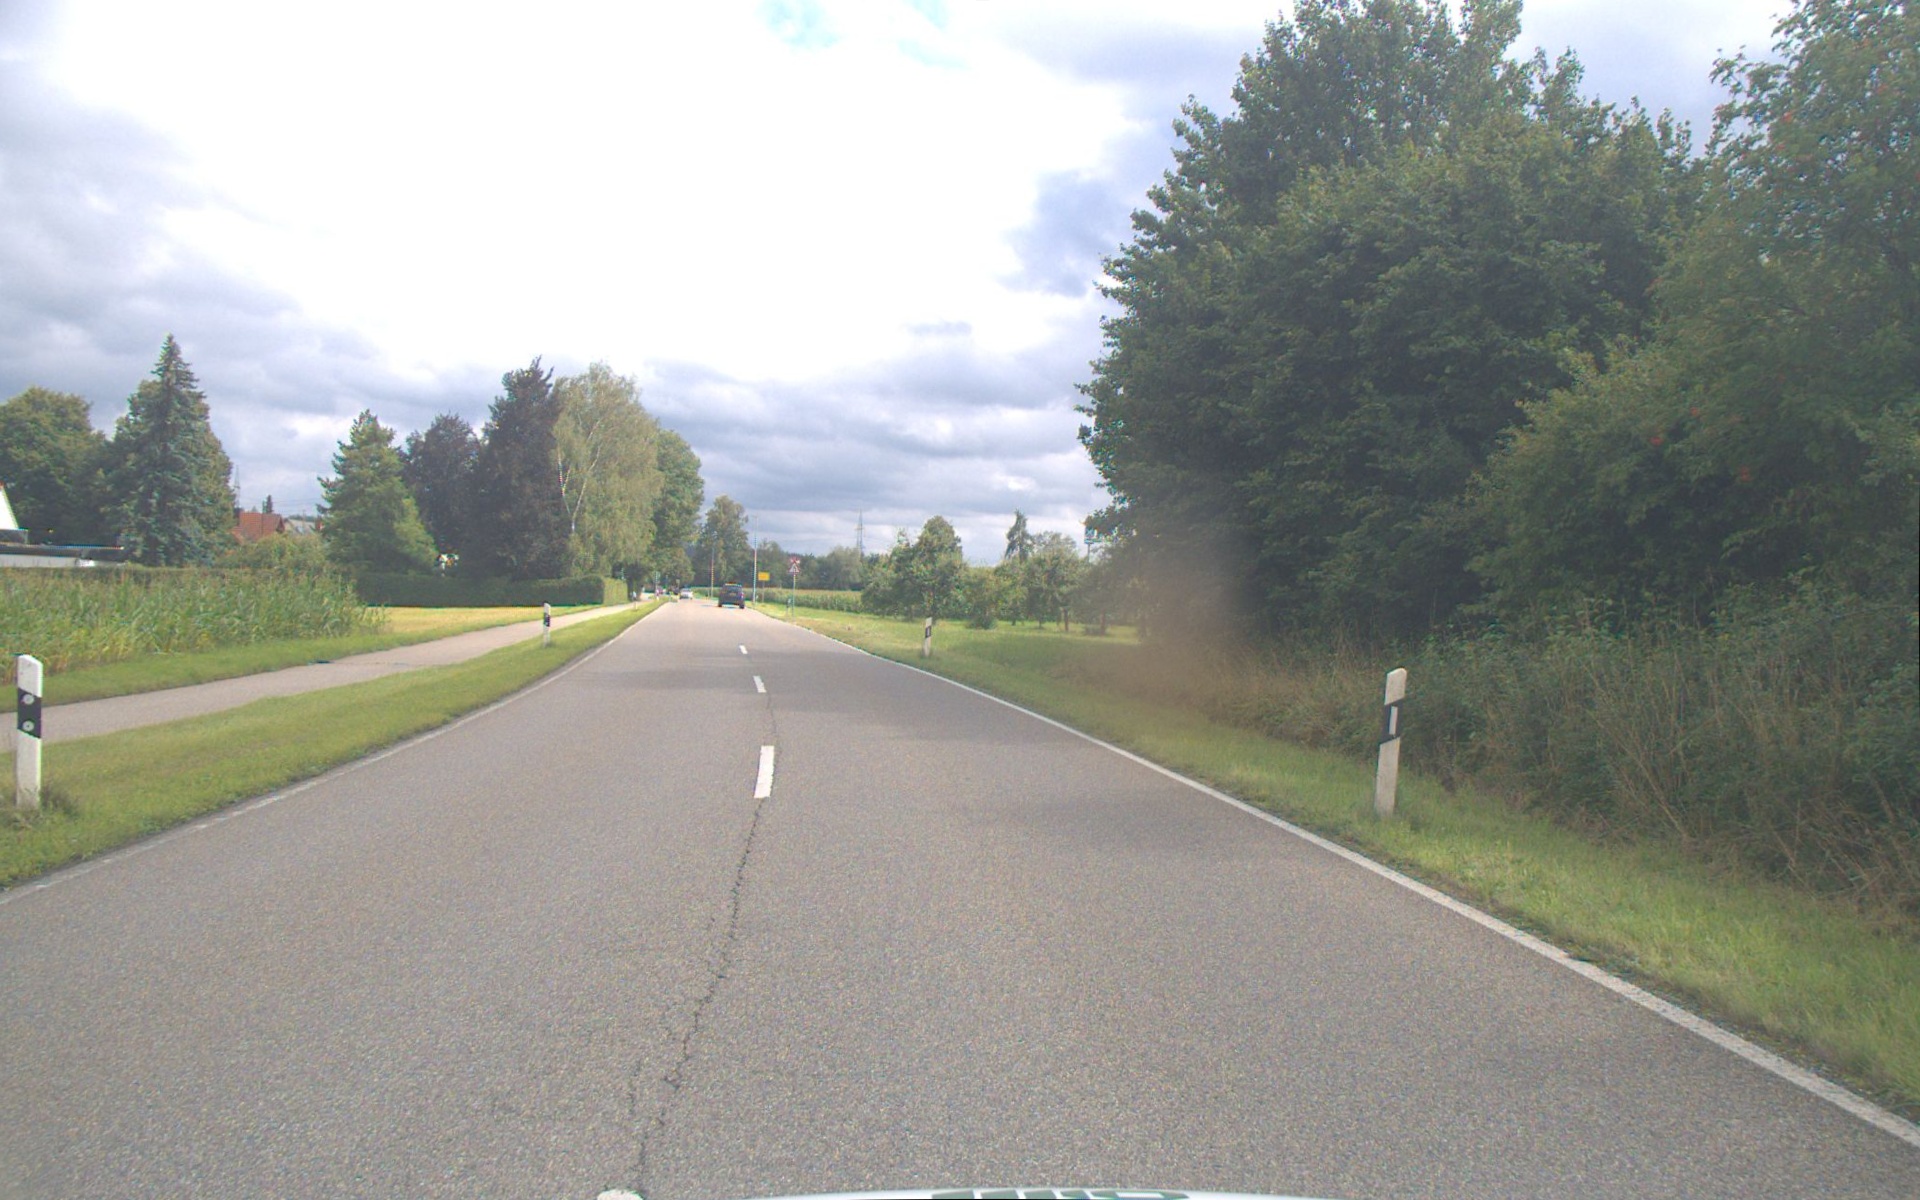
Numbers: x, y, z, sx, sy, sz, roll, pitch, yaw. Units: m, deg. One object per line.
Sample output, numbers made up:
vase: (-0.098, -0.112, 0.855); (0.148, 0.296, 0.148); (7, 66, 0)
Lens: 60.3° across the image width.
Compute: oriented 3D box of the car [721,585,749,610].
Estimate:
car: (-16.164, -0.203, 118.591); (1.871, 1.695, 3.991); (1, 0, -9)
